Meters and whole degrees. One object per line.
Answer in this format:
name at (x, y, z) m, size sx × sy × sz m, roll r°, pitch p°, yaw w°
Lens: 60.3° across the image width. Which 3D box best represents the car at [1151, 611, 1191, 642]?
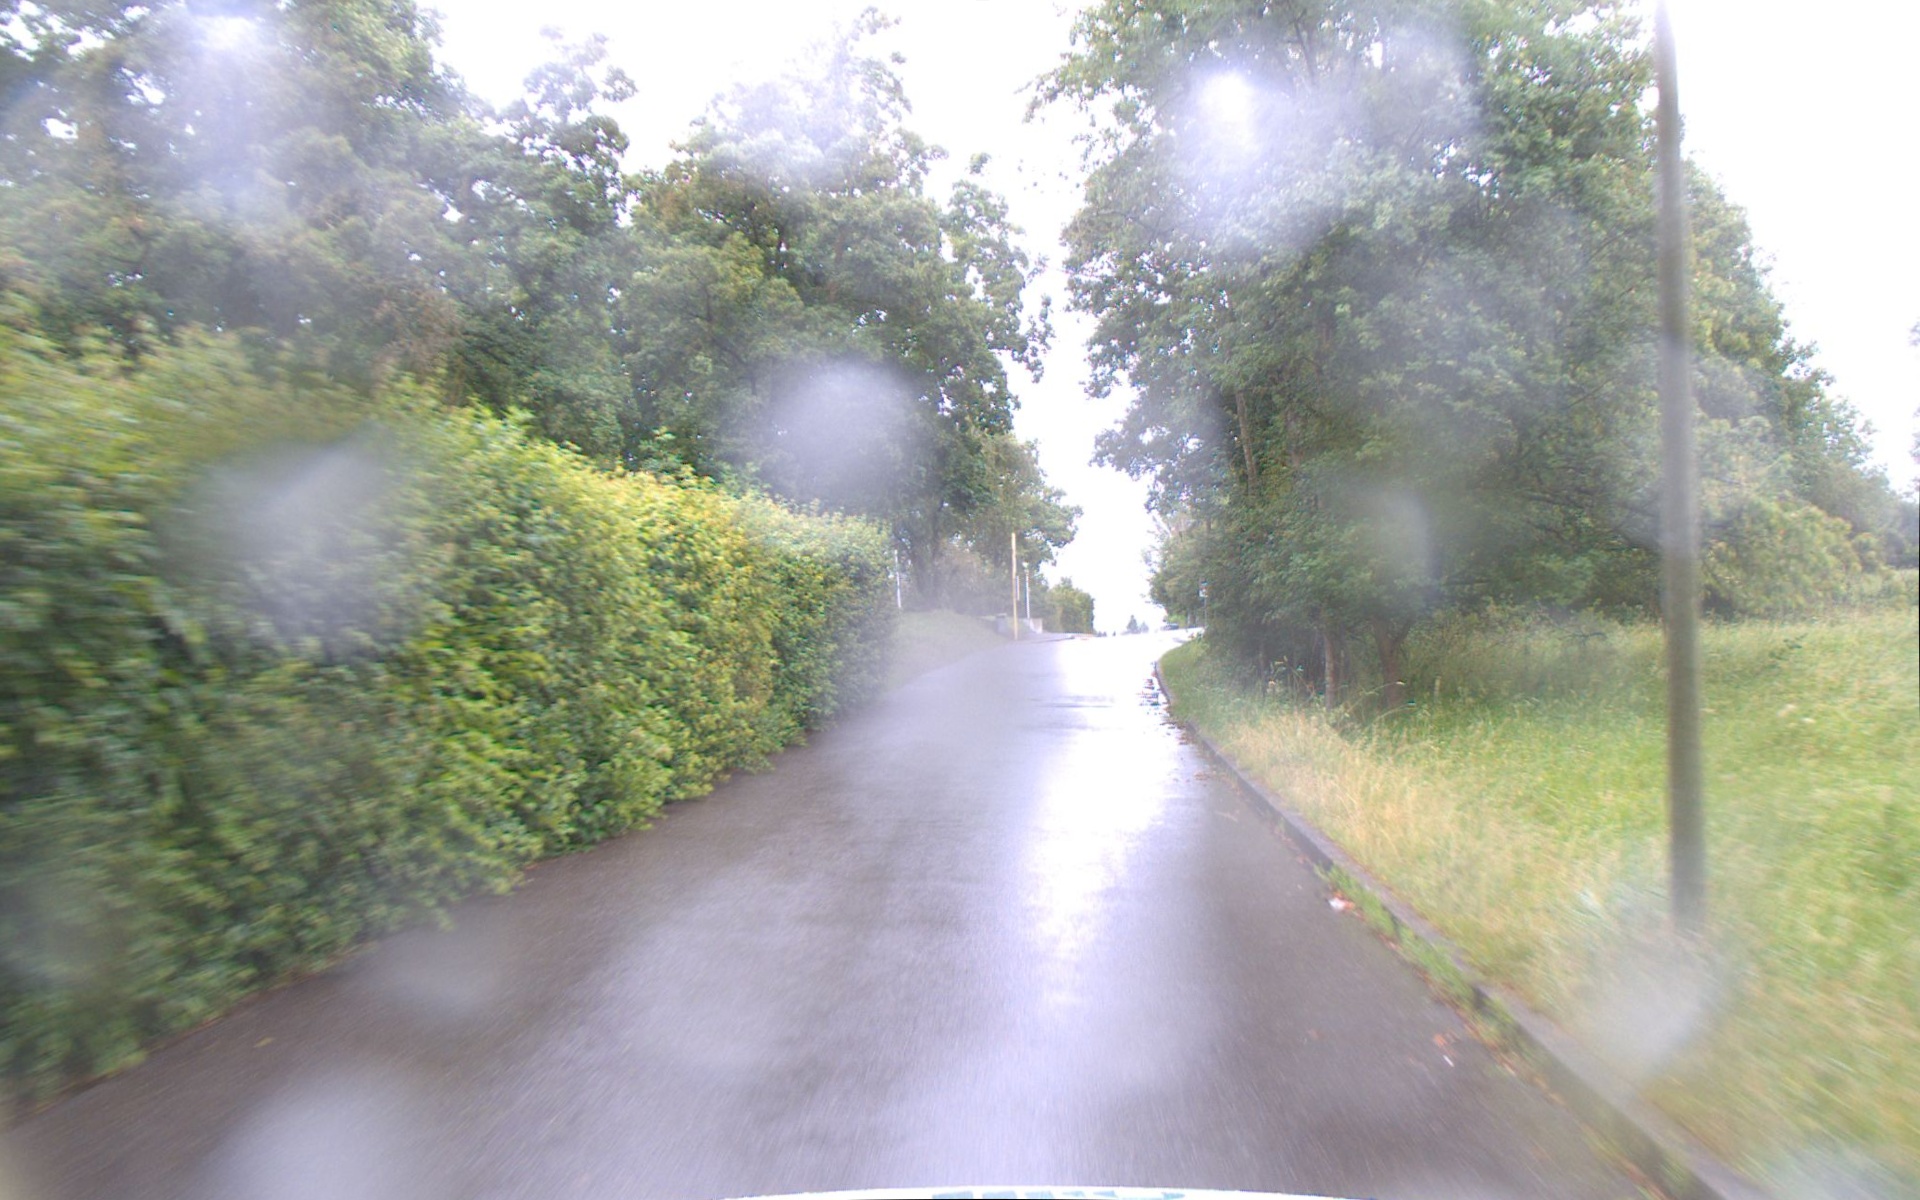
car at (12.636, 1.607, 98.982) m, size 1.951 × 1.611 × 4.002 m, roll -2°, pitch -4°, yaw 12°
